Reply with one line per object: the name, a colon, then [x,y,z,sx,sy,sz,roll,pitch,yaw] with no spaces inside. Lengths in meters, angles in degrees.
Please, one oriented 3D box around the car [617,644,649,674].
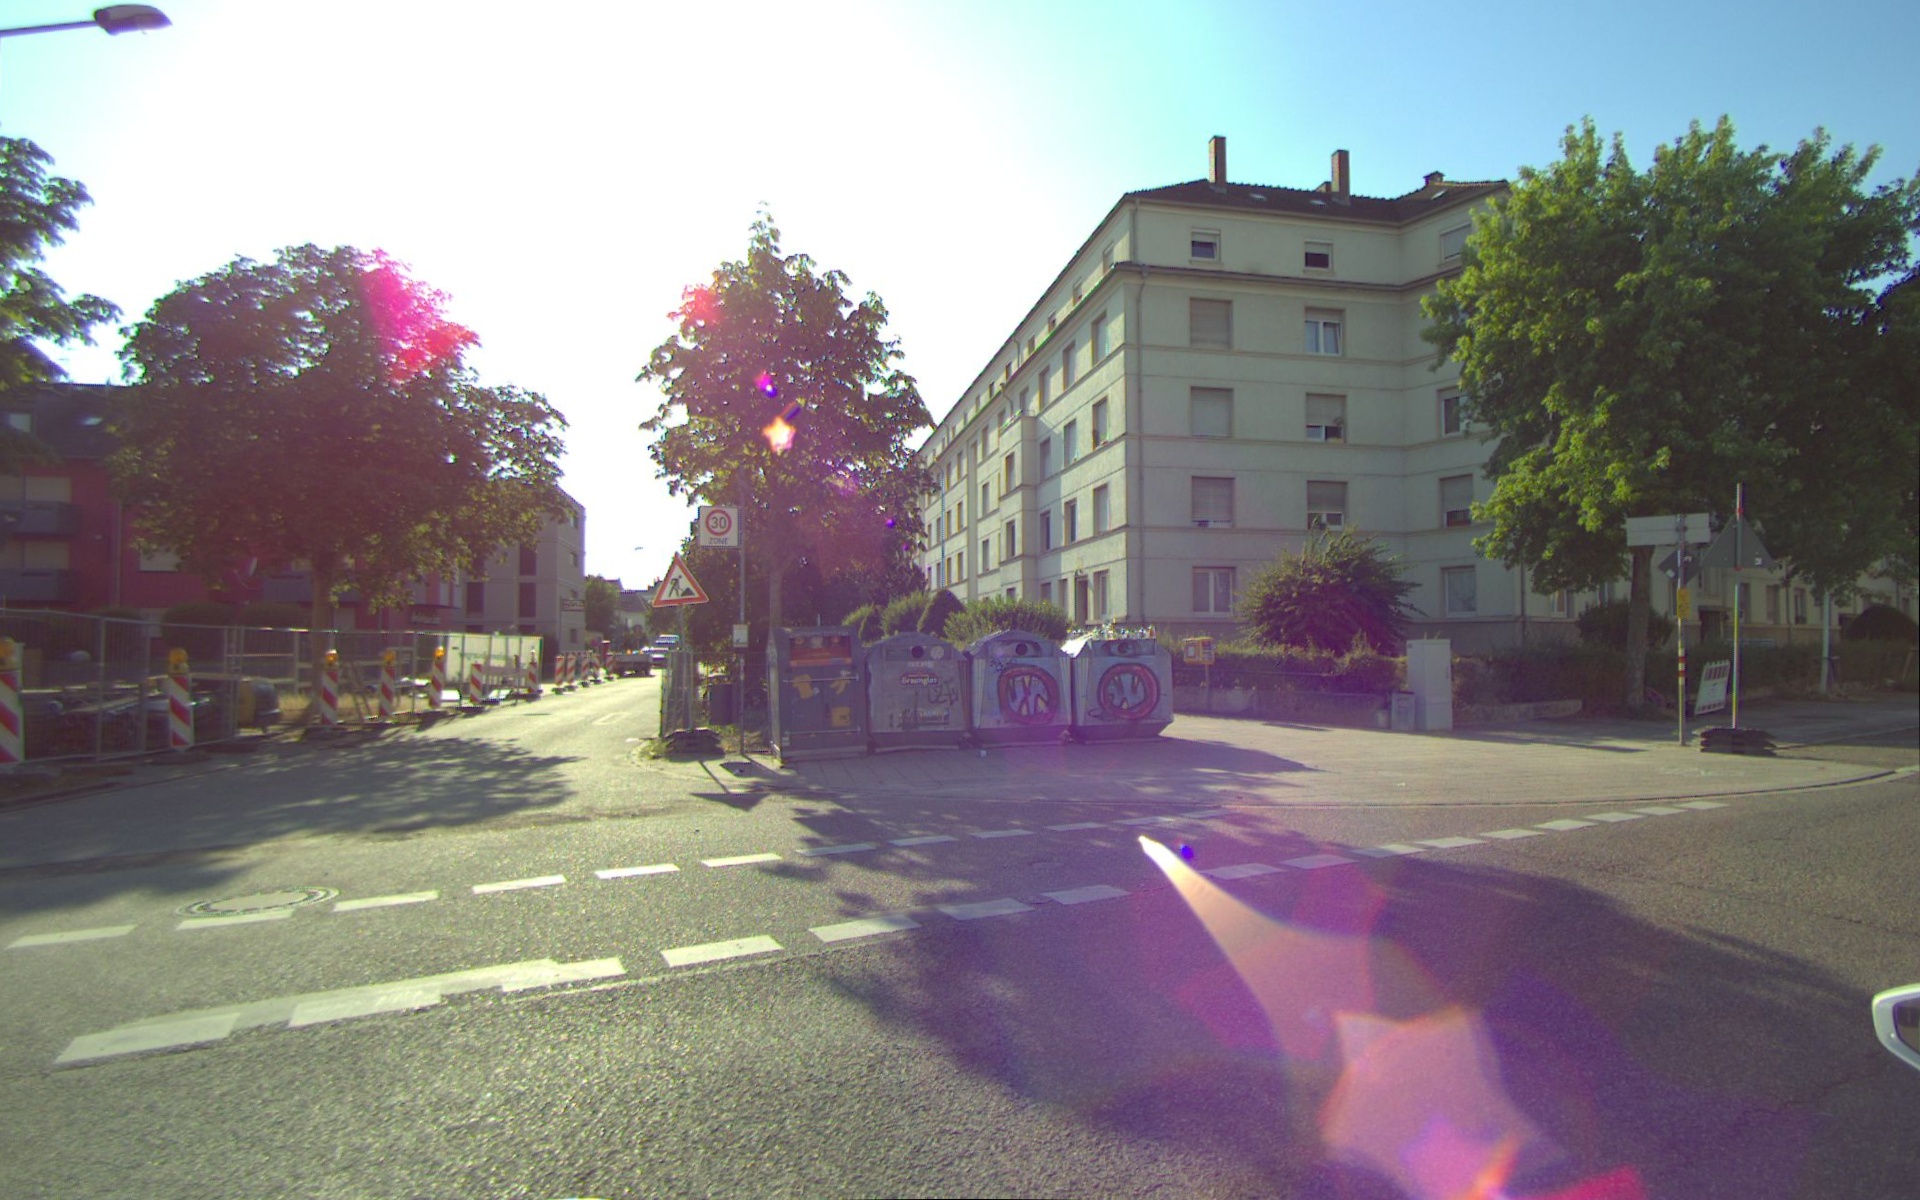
car: [-18.395,3.291,56.603,1.465,1.528,3.147,2,-1,-14]
